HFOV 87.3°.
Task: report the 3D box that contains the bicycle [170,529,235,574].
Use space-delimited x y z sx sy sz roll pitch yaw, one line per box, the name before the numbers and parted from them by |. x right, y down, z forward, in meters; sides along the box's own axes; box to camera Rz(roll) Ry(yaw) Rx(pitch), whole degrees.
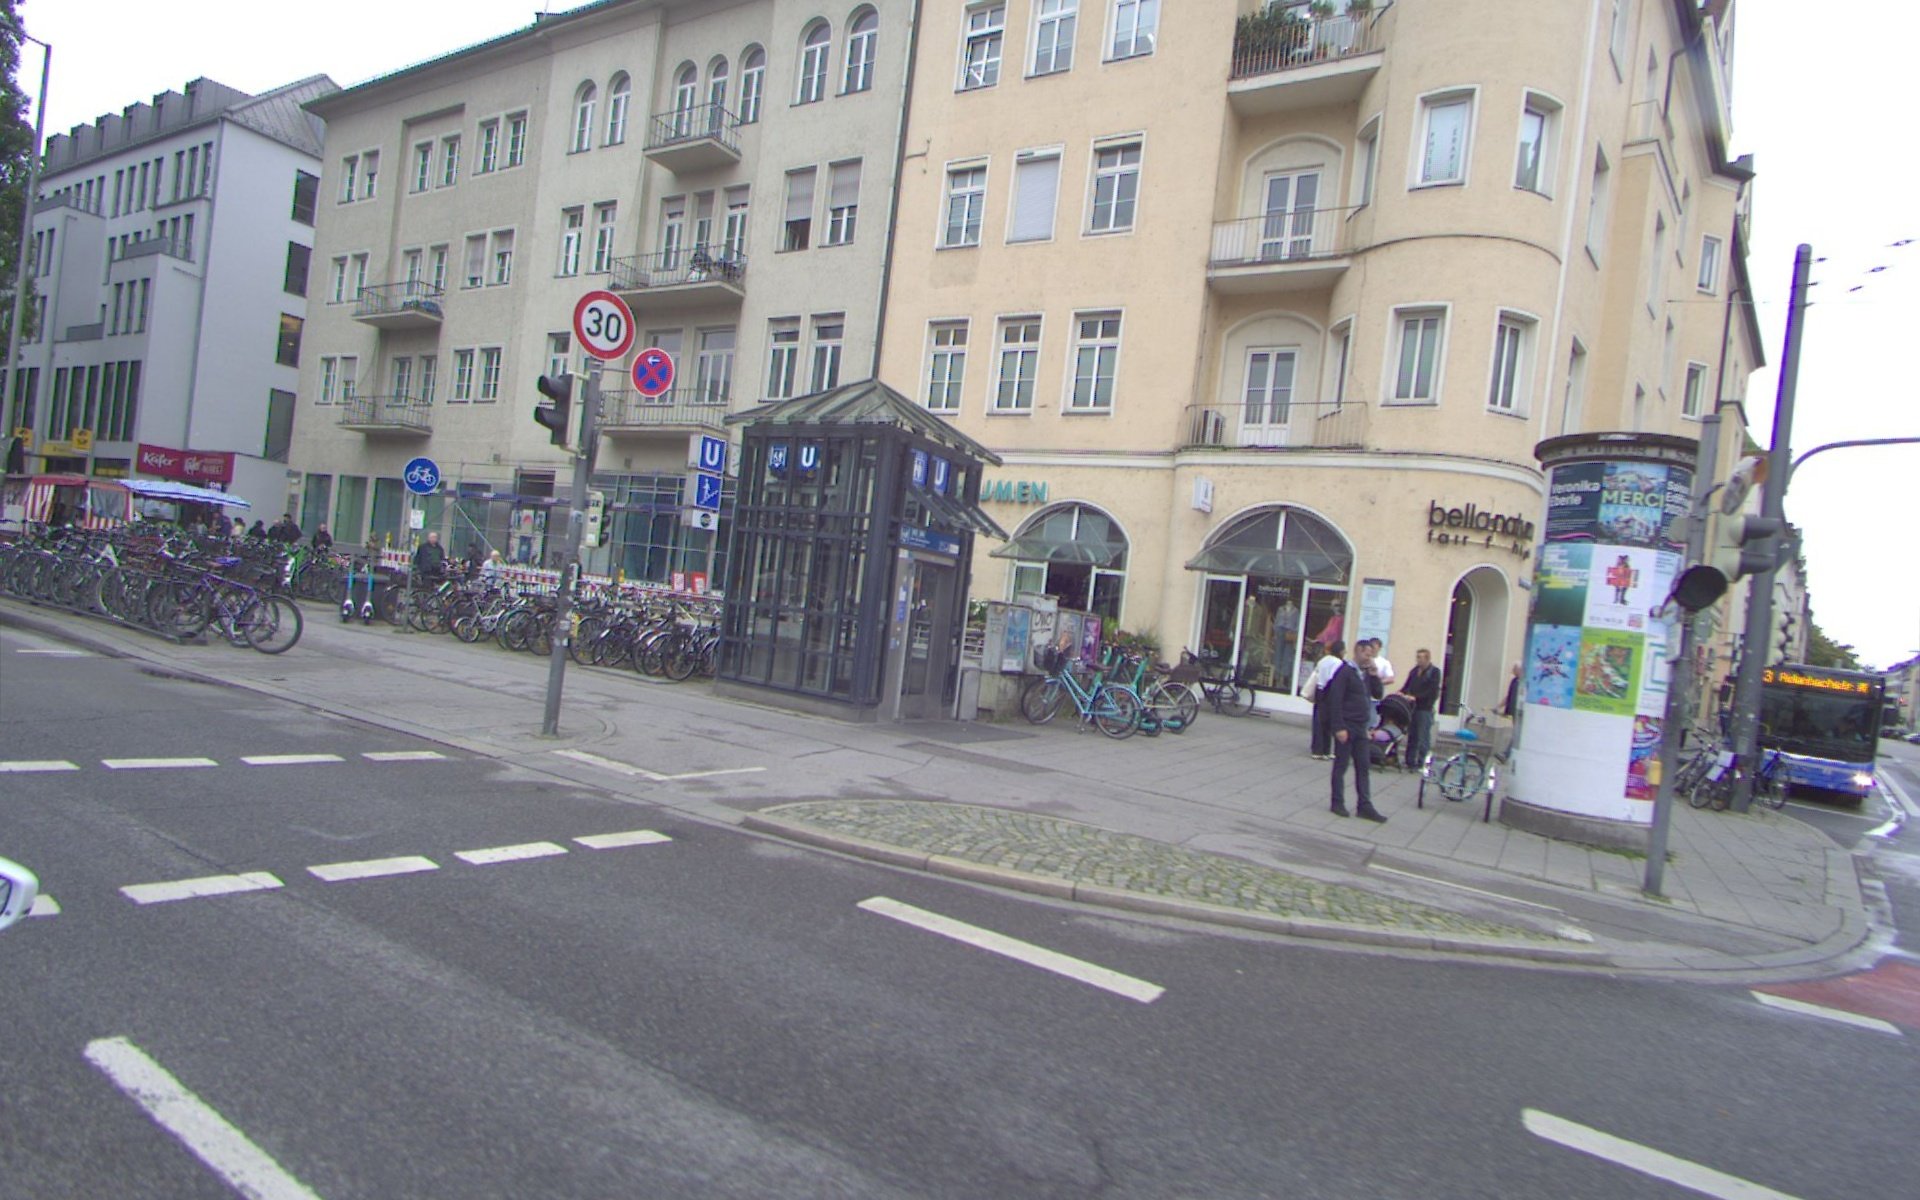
bicycle | -19.310 -1.233 25.675 0.362 0.993 1.247 7 0 23

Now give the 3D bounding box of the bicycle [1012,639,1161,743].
bicycle | 1.694 1.202 13.633 1.835 1.121 0.567 7 1 32

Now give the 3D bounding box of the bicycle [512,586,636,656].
bicycle | -6.082 0.355 15.956 0.500 0.976 1.840 7 0 30

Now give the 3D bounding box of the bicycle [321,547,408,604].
bicycle | -13.085 -0.522 22.151 0.443 1.088 1.553 7 0 27

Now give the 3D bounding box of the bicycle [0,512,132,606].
bicycle | -13.454 -0.613 14.828 1.784 1.172 0.483 7 0 -28

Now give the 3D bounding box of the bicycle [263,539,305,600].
bicycle | -13.587 -0.628 20.250 0.364 1.156 1.712 6 0 -25

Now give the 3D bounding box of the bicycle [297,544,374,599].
bicycle | -14.008 -0.634 22.607 0.363 1.088 1.430 7 0 25

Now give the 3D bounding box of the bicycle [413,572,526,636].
bicycle | -8.569 0.087 17.653 0.445 0.976 1.757 7 0 30

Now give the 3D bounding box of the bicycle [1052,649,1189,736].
bicycle | 2.316 1.319 14.632 1.835 0.987 0.495 7 1 32

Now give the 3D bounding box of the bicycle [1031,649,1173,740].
bicycle | 1.963 1.295 14.051 1.835 0.987 0.495 7 1 32

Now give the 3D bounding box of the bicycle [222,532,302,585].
bicycle | -16.721 -0.981 24.135 0.363 1.088 1.504 7 0 25

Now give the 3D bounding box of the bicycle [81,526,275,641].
bicycle | -9.885 -0.199 12.782 1.777 1.213 0.557 7 1 -15

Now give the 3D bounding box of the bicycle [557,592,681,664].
bicycle | -5.149 0.454 15.318 0.500 0.976 1.840 7 0 30

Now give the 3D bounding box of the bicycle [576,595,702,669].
bicycle | -4.743 0.498 14.982 0.500 0.976 1.840 7 0 30

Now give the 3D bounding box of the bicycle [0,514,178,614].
bicycle | -12.297 -0.494 14.250 1.787 1.172 0.483 7 0 -33

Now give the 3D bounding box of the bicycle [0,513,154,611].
bicycle | -12.882 -0.542 14.536 1.785 1.172 0.483 7 0 -30

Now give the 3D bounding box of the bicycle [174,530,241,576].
bicycle | -18.865 -1.168 25.247 0.363 0.993 1.246 7 0 29

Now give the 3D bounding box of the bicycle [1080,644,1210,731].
bicycle | 2.882 1.350 15.774 1.834 1.072 0.495 7 1 28

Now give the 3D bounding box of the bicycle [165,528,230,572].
bicycle | -19.688 -1.274 25.998 0.362 0.993 1.247 7 0 23

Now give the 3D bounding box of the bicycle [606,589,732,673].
bicycle | -4.220 0.480 14.713 0.500 1.108 1.840 7 0 30

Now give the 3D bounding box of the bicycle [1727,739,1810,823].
bicycle | 12.499 2.775 15.588 0.350 1.046 1.584 7 0 18

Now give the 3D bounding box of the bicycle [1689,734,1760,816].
bicycle | 11.792 2.672 15.556 0.244 1.046 1.584 7 0 18

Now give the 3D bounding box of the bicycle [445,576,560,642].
bicycle | -7.666 0.177 16.937 0.445 0.976 1.757 7 0 30

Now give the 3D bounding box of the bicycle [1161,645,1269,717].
bicycle | 4.890 1.538 19.307 1.833 1.103 0.495 7 1 26

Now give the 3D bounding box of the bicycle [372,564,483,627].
bicycle | -9.633 -0.060 18.258 0.363 0.976 1.756 7 0 32

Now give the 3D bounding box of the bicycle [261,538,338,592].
bicycle | -15.224 -0.792 23.208 0.363 1.088 1.430 7 0 25

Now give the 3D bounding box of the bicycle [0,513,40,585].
bicycle | -16.402 -0.930 16.464 1.780 1.125 0.649 7 0 -22

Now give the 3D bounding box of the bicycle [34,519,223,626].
bicycle | -11.068 -0.352 13.459 1.780 1.172 0.545 7 0 -21

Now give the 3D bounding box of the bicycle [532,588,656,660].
bicycle | -5.654 0.396 15.655 0.500 0.976 1.840 7 0 30

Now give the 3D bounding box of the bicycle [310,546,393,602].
bicycle | -13.532 -0.565 22.414 0.363 1.088 1.554 7 0 25

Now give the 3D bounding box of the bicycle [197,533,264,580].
bicycle | -17.847 -1.051 24.626 0.363 0.993 1.246 7 0 25

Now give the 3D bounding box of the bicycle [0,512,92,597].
bicycle | -14.652 -0.747 15.454 1.781 1.172 0.648 7 0 -23

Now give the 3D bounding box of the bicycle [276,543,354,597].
bicycle | -14.699 -0.672 22.965 0.363 1.088 1.430 7 0 25

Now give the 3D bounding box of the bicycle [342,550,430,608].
bicycle | -12.495 -0.446 21.934 0.444 1.088 1.551 7 0 33

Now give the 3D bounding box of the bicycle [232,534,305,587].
bicycle | -16.239 -0.907 23.641 0.363 1.088 1.331 7 0 25

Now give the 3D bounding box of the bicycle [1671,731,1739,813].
bicycle | 11.539 2.638 15.618 0.244 1.046 1.584 7 0 18

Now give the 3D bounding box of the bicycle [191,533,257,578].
bicycle | -18.273 -1.096 24.995 0.362 0.993 1.247 7 0 23

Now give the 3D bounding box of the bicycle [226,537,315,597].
bicycle | -14.355 -0.680 20.982 0.363 1.091 1.419 7 0 33

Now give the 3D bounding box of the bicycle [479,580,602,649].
bicycle | -6.780 0.266 16.363 0.500 0.976 1.840 7 0 30

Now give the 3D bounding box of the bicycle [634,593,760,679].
bicycle | -3.740 0.542 14.437 0.500 1.108 1.840 7 0 30

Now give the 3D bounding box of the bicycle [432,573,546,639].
bicycle | -8.045 0.127 17.264 0.445 0.976 1.757 7 0 30

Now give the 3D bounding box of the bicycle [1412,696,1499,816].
bicycle | 5.654 1.730 11.436 0.516 1.175 1.568 9 2 34

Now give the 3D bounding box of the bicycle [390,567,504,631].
bicycle | -9.079 0.009 17.866 0.445 0.976 1.756 7 0 32

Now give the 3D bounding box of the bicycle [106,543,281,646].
bicycle | -9.390 -0.061 12.370 1.575 1.041 0.498 7 1 -11

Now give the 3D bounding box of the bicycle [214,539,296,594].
bicycle | -14.822 -0.693 21.176 0.363 1.012 1.315 7 0 33

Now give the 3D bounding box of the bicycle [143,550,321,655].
bicycle | -8.642 0.032 11.989 1.575 1.041 0.498 7 1 -11

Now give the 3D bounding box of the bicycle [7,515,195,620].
bicycle | -11.680 -0.428 13.738 1.780 1.172 0.545 7 0 -21
